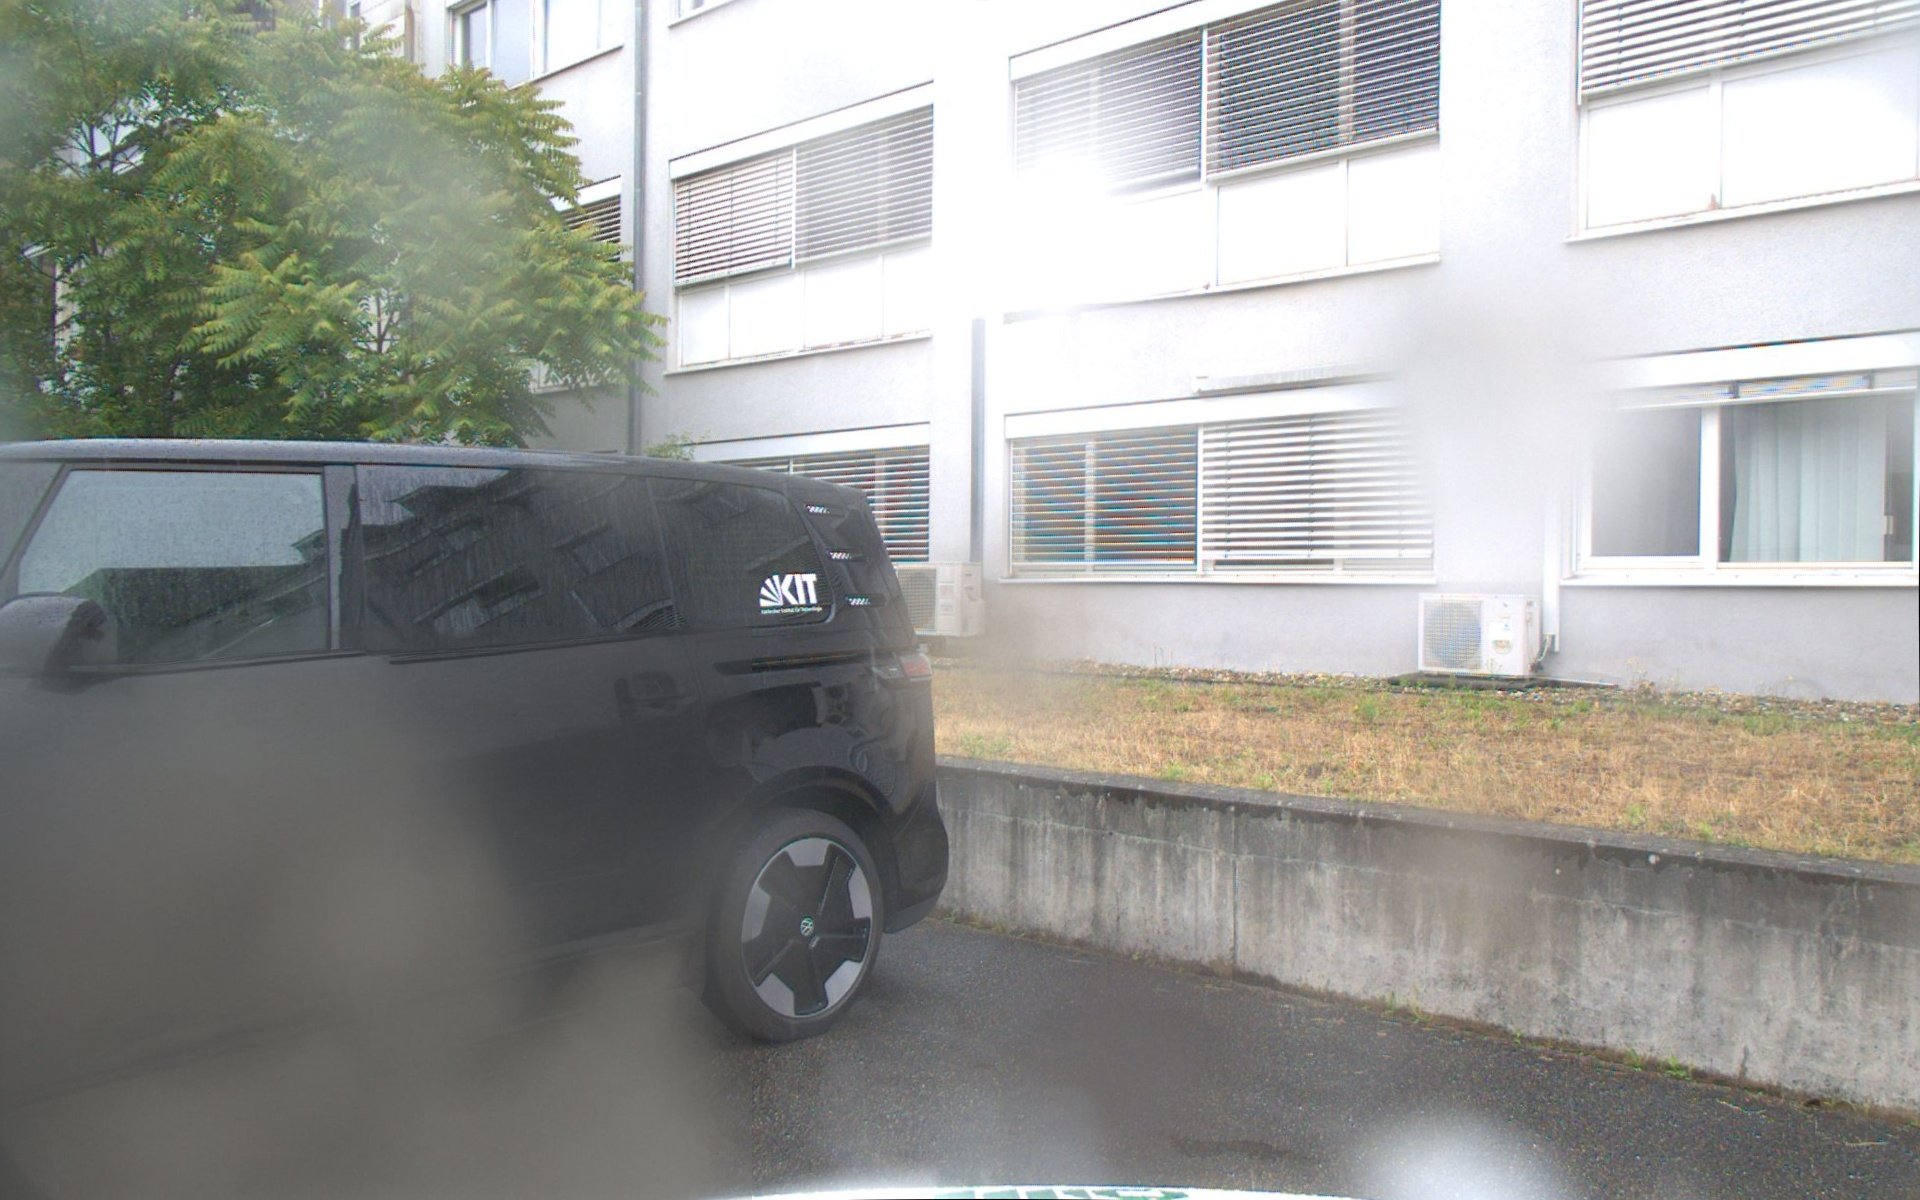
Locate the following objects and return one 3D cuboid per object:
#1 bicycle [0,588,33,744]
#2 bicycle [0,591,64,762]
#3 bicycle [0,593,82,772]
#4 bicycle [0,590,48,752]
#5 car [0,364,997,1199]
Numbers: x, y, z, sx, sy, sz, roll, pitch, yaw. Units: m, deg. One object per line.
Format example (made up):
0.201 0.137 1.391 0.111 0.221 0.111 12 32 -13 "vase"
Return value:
-9.010 0.542 12.755 3.197 1.263 0.621 0 0 -43 "bicycle"
-8.194 0.573 11.733 3.197 1.263 0.621 0 0 -43 "bicycle"
-7.772 0.589 11.187 3.197 1.263 0.621 0 0 -43 "bicycle"
-8.606 0.557 12.254 3.197 1.263 0.621 0 0 -43 "bicycle"
-2.113 0.466 4.882 2.011 1.930 4.494 0 0 42 "car"
